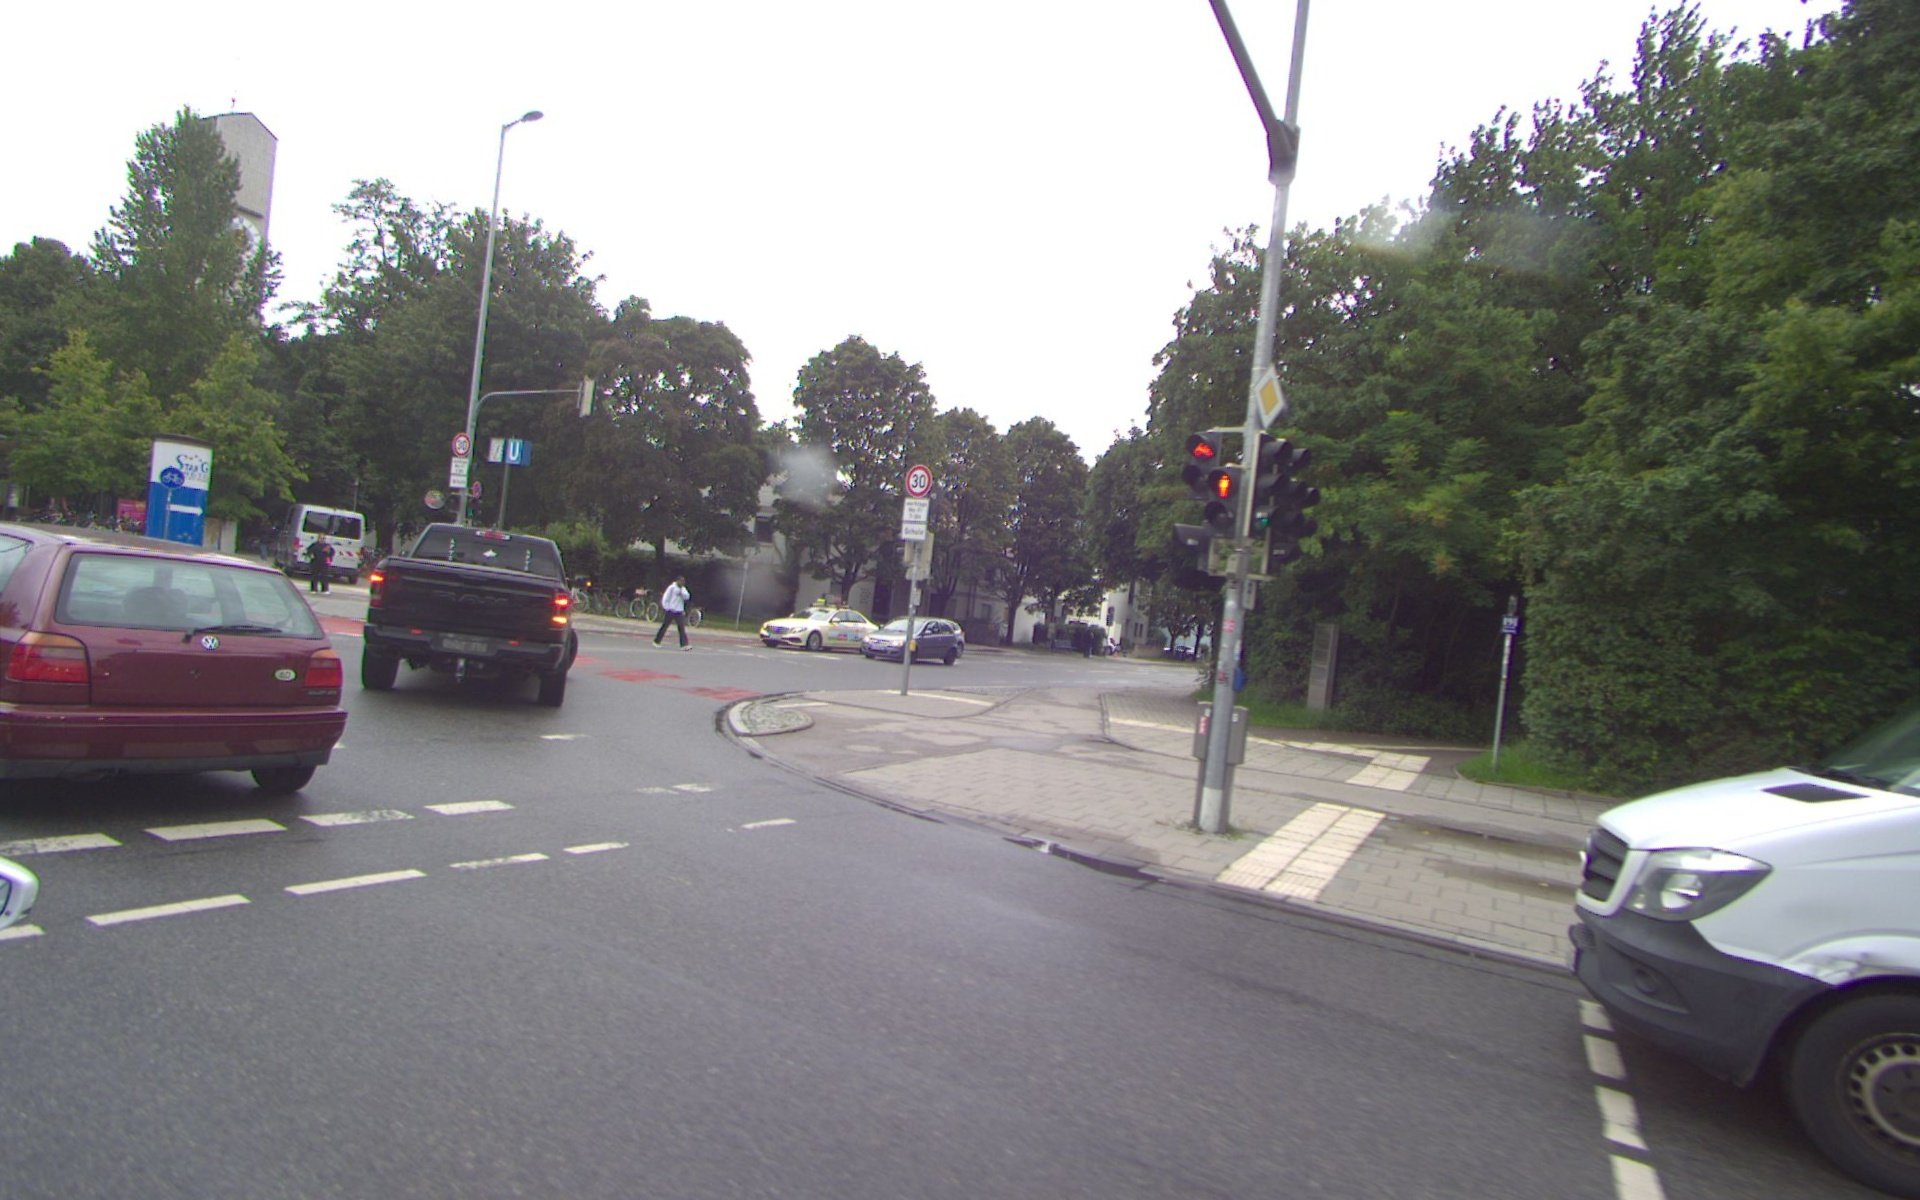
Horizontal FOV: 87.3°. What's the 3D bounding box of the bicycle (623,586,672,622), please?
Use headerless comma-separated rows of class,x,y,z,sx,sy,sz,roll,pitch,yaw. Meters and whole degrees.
bicycle,-11.484,0.142,36.896,2.085,1.108,0.607,6,0,41

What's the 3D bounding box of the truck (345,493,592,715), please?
truck,-6.062,-0.007,12.898,2.078,2.038,5.781,7,0,-23

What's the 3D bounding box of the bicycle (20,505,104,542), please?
bicycle,-34.487,-2.921,38.677,0.520,1.173,2.339,7,2,31

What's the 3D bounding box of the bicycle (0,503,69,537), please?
bicycle,-37.742,-3.239,40.793,0.520,1.173,2.339,7,2,31

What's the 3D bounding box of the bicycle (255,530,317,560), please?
bicycle,-31.398,-2.545,46.879,0.520,1.173,2.339,7,2,31

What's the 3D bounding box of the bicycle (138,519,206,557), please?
bicycle,-28.240,-2.196,36.077,0.558,1.157,1.807,7,1,32

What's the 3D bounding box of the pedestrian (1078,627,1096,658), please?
pedestrian,8.057,2.689,63.833,0.599,1.849,0.704,7,1,42

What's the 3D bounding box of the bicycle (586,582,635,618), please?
bicycle,-12.846,-0.019,36.928,2.084,1.108,0.607,6,0,40

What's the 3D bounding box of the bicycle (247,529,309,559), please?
bicycle,-31.954,-2.610,47.162,0.520,1.173,2.339,7,2,31

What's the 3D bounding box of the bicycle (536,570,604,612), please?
bicycle,-14.030,-0.309,36.254,2.074,1.266,0.703,7,0,5

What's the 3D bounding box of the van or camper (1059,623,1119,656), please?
van or camper,9.893,3.029,77.222,3.933,2.038,1.996,6,0,31

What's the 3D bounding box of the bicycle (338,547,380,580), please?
bicycle,-23.600,-1.426,39.563,0.707,1.167,2.123,6,0,-14

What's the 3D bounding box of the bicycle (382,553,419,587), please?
bicycle,-21.011,-1.136,37.843,0.708,1.167,2.120,6,0,-18

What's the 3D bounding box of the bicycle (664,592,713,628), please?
bicycle,-10.190,0.358,37.697,2.084,1.108,0.607,6,0,40

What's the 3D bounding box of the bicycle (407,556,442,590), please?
bicycle,-20.257,-1.028,38.068,0.708,1.167,2.120,6,0,-18

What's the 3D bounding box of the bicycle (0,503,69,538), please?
bicycle,-37.104,-3.176,40.117,0.519,1.173,2.343,7,2,23

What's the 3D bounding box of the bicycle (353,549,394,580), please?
bicycle,-24.543,-1.470,42.130,0.707,1.167,2.124,6,0,-11

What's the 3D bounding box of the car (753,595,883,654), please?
car,-4.511,0.828,32.552,1.855,1.515,4.309,7,-1,28

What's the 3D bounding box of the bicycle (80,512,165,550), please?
bicycle,-31.223,-2.547,37.527,0.575,1.173,2.339,7,2,31

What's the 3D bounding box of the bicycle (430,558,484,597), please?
bicycle,-18.225,-0.811,36.419,2.095,1.168,0.716,6,0,34

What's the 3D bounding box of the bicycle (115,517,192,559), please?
bicycle,-26.997,-2.062,33.705,0.557,1.228,1.944,6,1,20

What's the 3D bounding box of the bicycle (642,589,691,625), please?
bicycle,-10.933,0.251,37.456,2.084,1.108,0.607,6,0,40

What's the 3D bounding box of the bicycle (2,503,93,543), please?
bicycle,-33.042,-2.778,36.462,0.575,1.173,2.339,7,2,31

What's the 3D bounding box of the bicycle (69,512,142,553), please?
bicycle,-29.028,-2.286,34.193,0.559,1.157,1.803,7,1,40

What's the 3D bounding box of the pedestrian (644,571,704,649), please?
pedestrian,-6.763,0.234,23.819,0.922,1.724,0.761,6,0,22

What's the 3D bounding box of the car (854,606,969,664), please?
car,-1.436,1.121,31.356,1.600,1.471,3.943,7,-1,30

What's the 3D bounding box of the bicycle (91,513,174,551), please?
bicycle,-31.487,-2.574,38.325,0.575,1.173,2.339,7,2,31

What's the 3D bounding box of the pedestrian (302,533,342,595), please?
pedestrian,-16.978,-0.954,26.755,0.687,1.557,0.729,6,0,-39

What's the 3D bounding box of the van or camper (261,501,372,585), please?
van or camper,-21.486,-1.936,33.454,2.133,2.324,6.128,7,0,-41

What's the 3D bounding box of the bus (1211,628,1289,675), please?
bus,25.370,4.552,87.431,2.689,3.322,11.860,7,-1,34

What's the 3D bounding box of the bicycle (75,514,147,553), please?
bicycle,-29.641,-2.321,35.139,0.558,1.157,1.805,7,1,36

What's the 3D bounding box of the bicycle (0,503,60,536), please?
bicycle,-38.589,-3.335,41.328,0.520,1.173,2.339,7,2,31

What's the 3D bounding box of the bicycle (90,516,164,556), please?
bicycle,-27.752,-2.113,33.553,0.557,1.157,1.811,6,1,20

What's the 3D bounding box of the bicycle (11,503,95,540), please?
bicycle,-35.001,-3.023,38.857,0.520,1.173,2.339,7,2,31

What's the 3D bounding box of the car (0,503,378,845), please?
car,-5.417,0.204,5.978,3.884,1.472,1.624,6,0,31

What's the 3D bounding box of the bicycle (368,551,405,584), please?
bicycle,-22.238,-1.261,39.036,0.708,1.167,2.120,6,0,-18

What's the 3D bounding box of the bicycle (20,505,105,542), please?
bicycle,-34.100,-2.891,38.270,0.520,1.173,2.339,7,2,31

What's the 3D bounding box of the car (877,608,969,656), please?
car,-1.340,1.257,38.457,1.599,1.471,3.944,7,-1,29

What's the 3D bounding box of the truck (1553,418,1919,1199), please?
truck,6.002,1.034,2.922,7.105,2.635,1.997,6,-1,30
